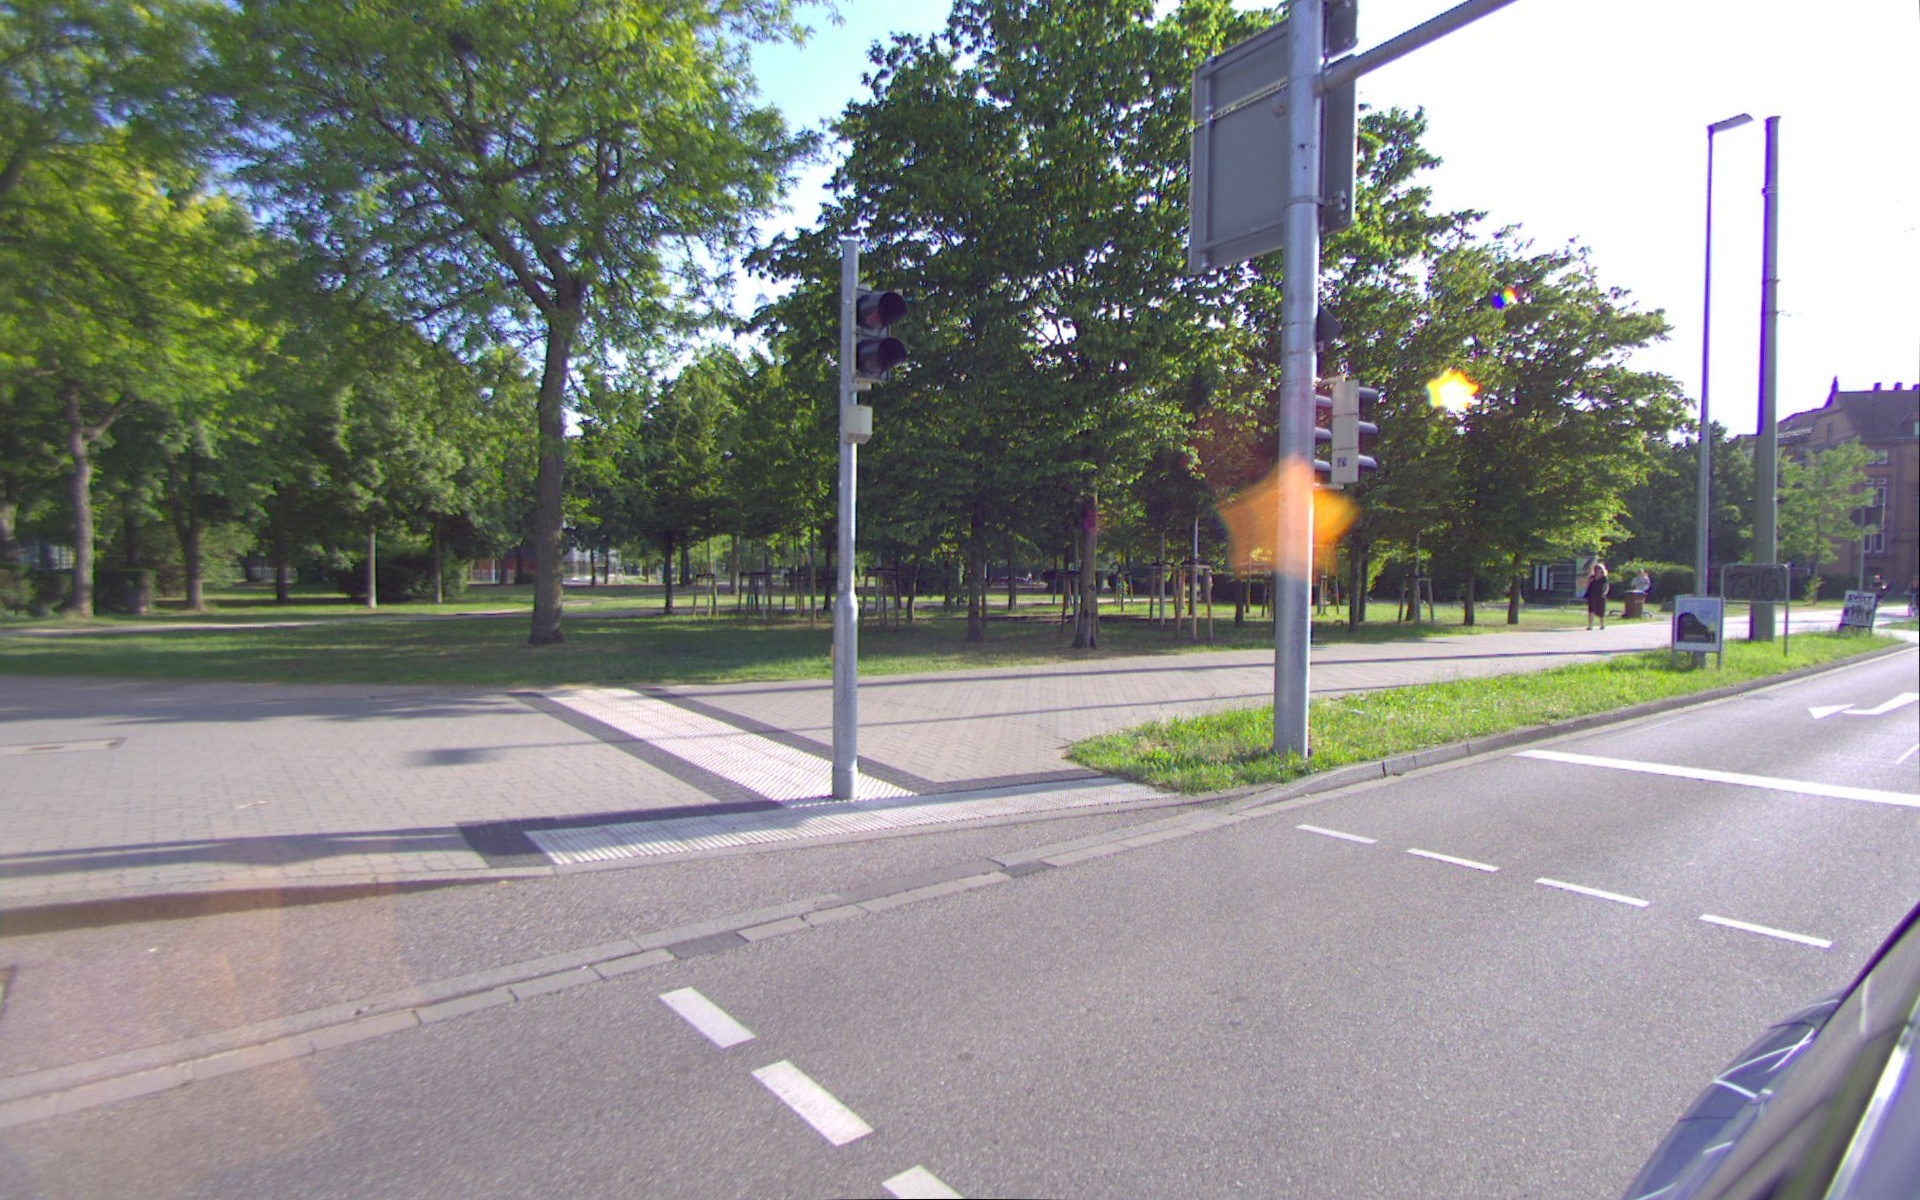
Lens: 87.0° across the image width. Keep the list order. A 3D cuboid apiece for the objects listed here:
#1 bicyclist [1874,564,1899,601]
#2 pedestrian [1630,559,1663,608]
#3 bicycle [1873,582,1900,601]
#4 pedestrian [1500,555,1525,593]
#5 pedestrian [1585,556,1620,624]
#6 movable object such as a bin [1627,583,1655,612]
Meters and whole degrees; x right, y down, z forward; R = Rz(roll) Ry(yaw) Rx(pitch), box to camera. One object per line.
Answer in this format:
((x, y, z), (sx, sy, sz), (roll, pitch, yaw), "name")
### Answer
((45.718, -0.867, 49.917), (1.099, 1.795, 0.753), (-1, 2, -41), "bicyclist")
((23.769, -0.576, 35.026), (0.609, 1.671, 0.663), (0, 1, -11), "pedestrian")
((45.715, -0.435, 49.930), (2.058, 0.929, 0.740), (-1, 2, -41), "bicycle")
((32.274, -1.517, 59.117), (0.872, 2.184, 0.914), (0, 2, -27), "pedestrian")
((16.446, -0.267, 25.894), (0.650, 1.722, 0.558), (-1, 2, -40), "pedestrian")
((21.712, -0.080, 32.256), (0.514, 0.915, 0.504), (1, 2, -1), "movable object such as a bin")
